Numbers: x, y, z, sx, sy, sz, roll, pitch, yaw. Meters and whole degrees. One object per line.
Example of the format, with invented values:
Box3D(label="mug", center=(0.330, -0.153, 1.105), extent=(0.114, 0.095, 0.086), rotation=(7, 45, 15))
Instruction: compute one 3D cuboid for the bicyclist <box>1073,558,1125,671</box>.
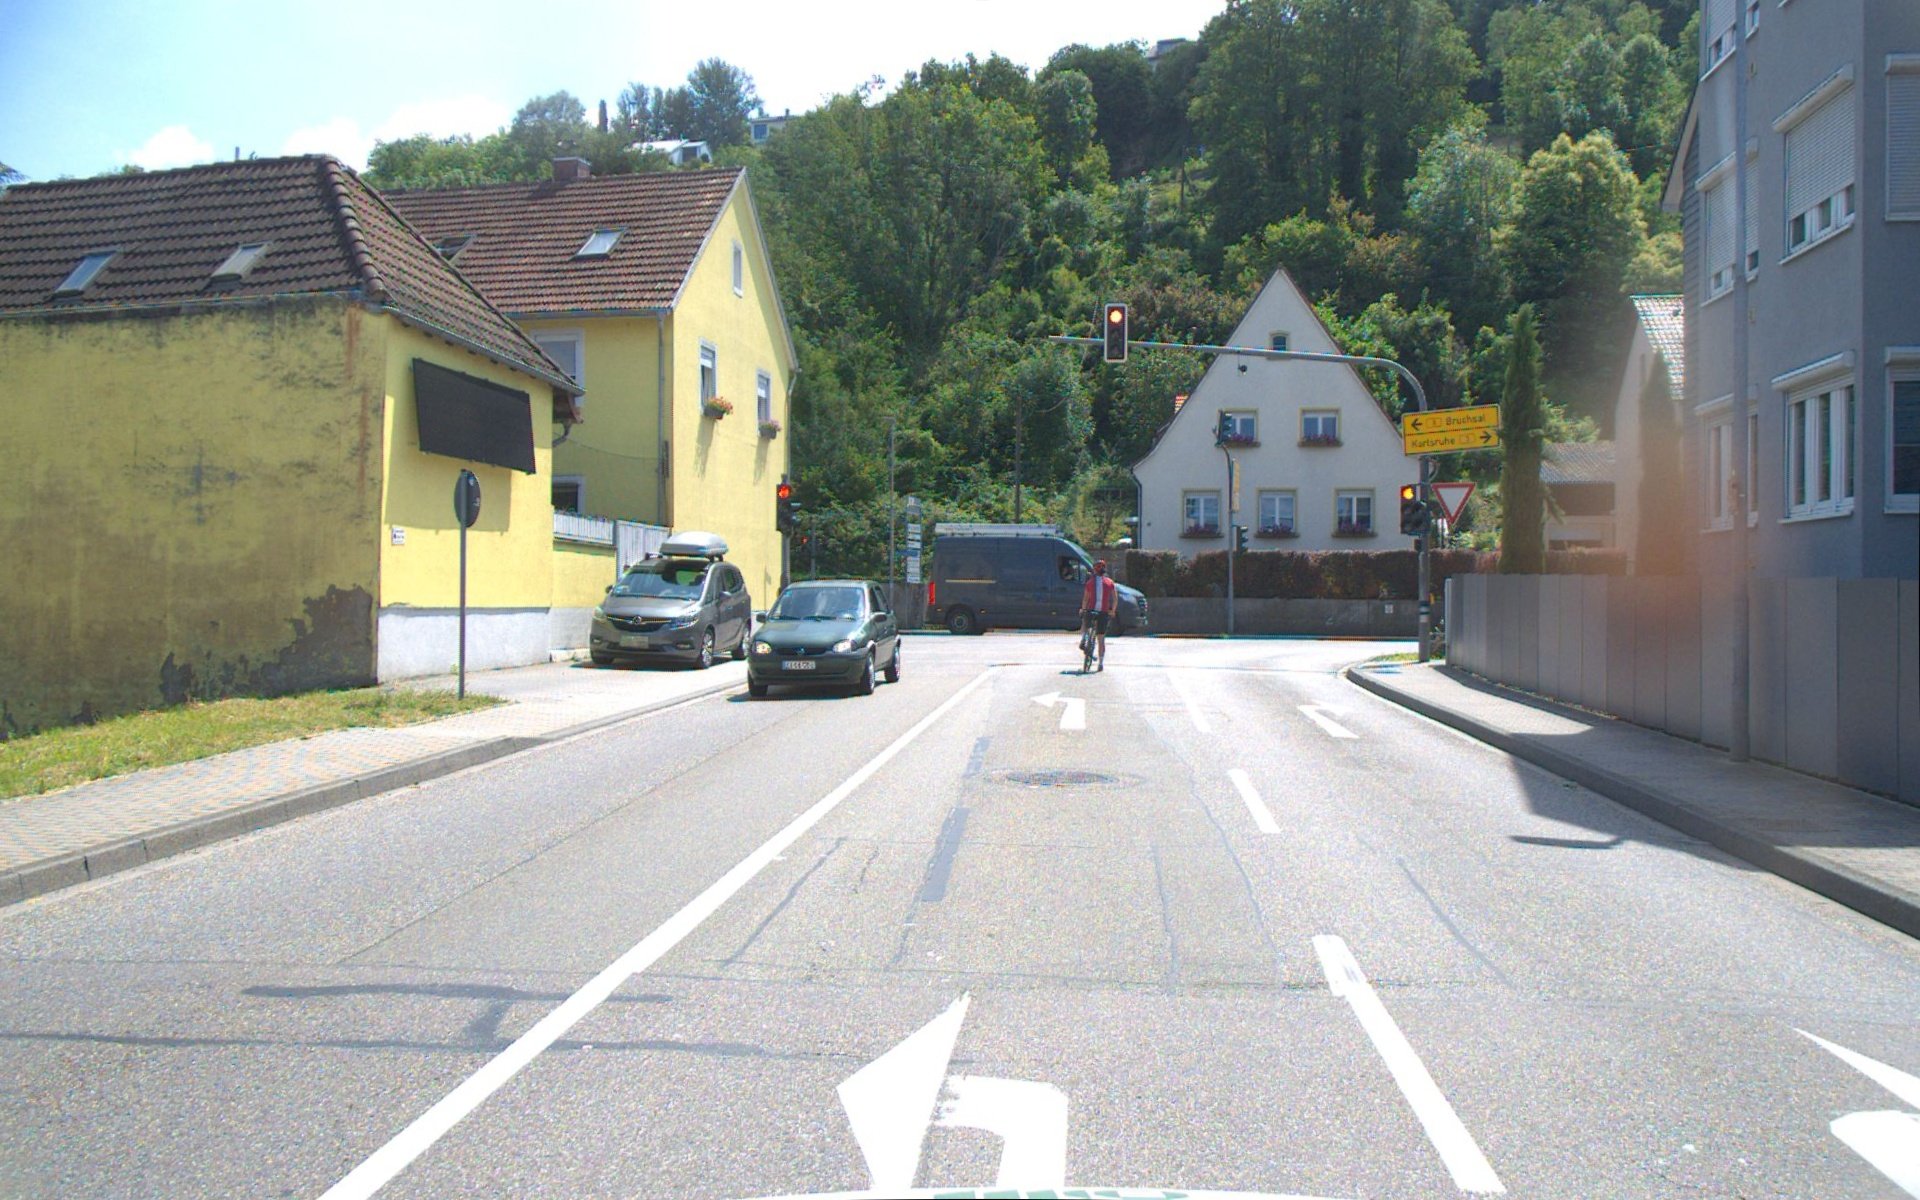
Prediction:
Box3D(label="bicyclist", center=(2.140, 0.218, 25.521), extent=(0.744, 1.693, 0.869), rotation=(2, 0, 5))

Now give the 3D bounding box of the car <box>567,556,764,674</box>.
Box3D(label="car", center=(-4.608, 0.186, 26.629), extent=(1.951, 1.664, 4.633), rotation=(2, 1, 5))

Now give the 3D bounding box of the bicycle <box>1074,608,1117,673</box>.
Box3D(label="bicycle", center=(2.095, 0.613, 25.530), extent=(0.616, 0.920, 1.658), rotation=(2, 1, 5))

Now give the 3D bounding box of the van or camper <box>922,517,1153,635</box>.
Box3D(label="van or camper", center=(2.103, -0.652, 44.304), extent=(5.864, 3.057, 2.220), rotation=(1, 0, 13))

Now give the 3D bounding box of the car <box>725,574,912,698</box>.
Box3D(label="car", center=(-1.762, 0.411, 21.784), extent=(1.742, 1.458, 3.875), rotation=(-1, 1, 6))
